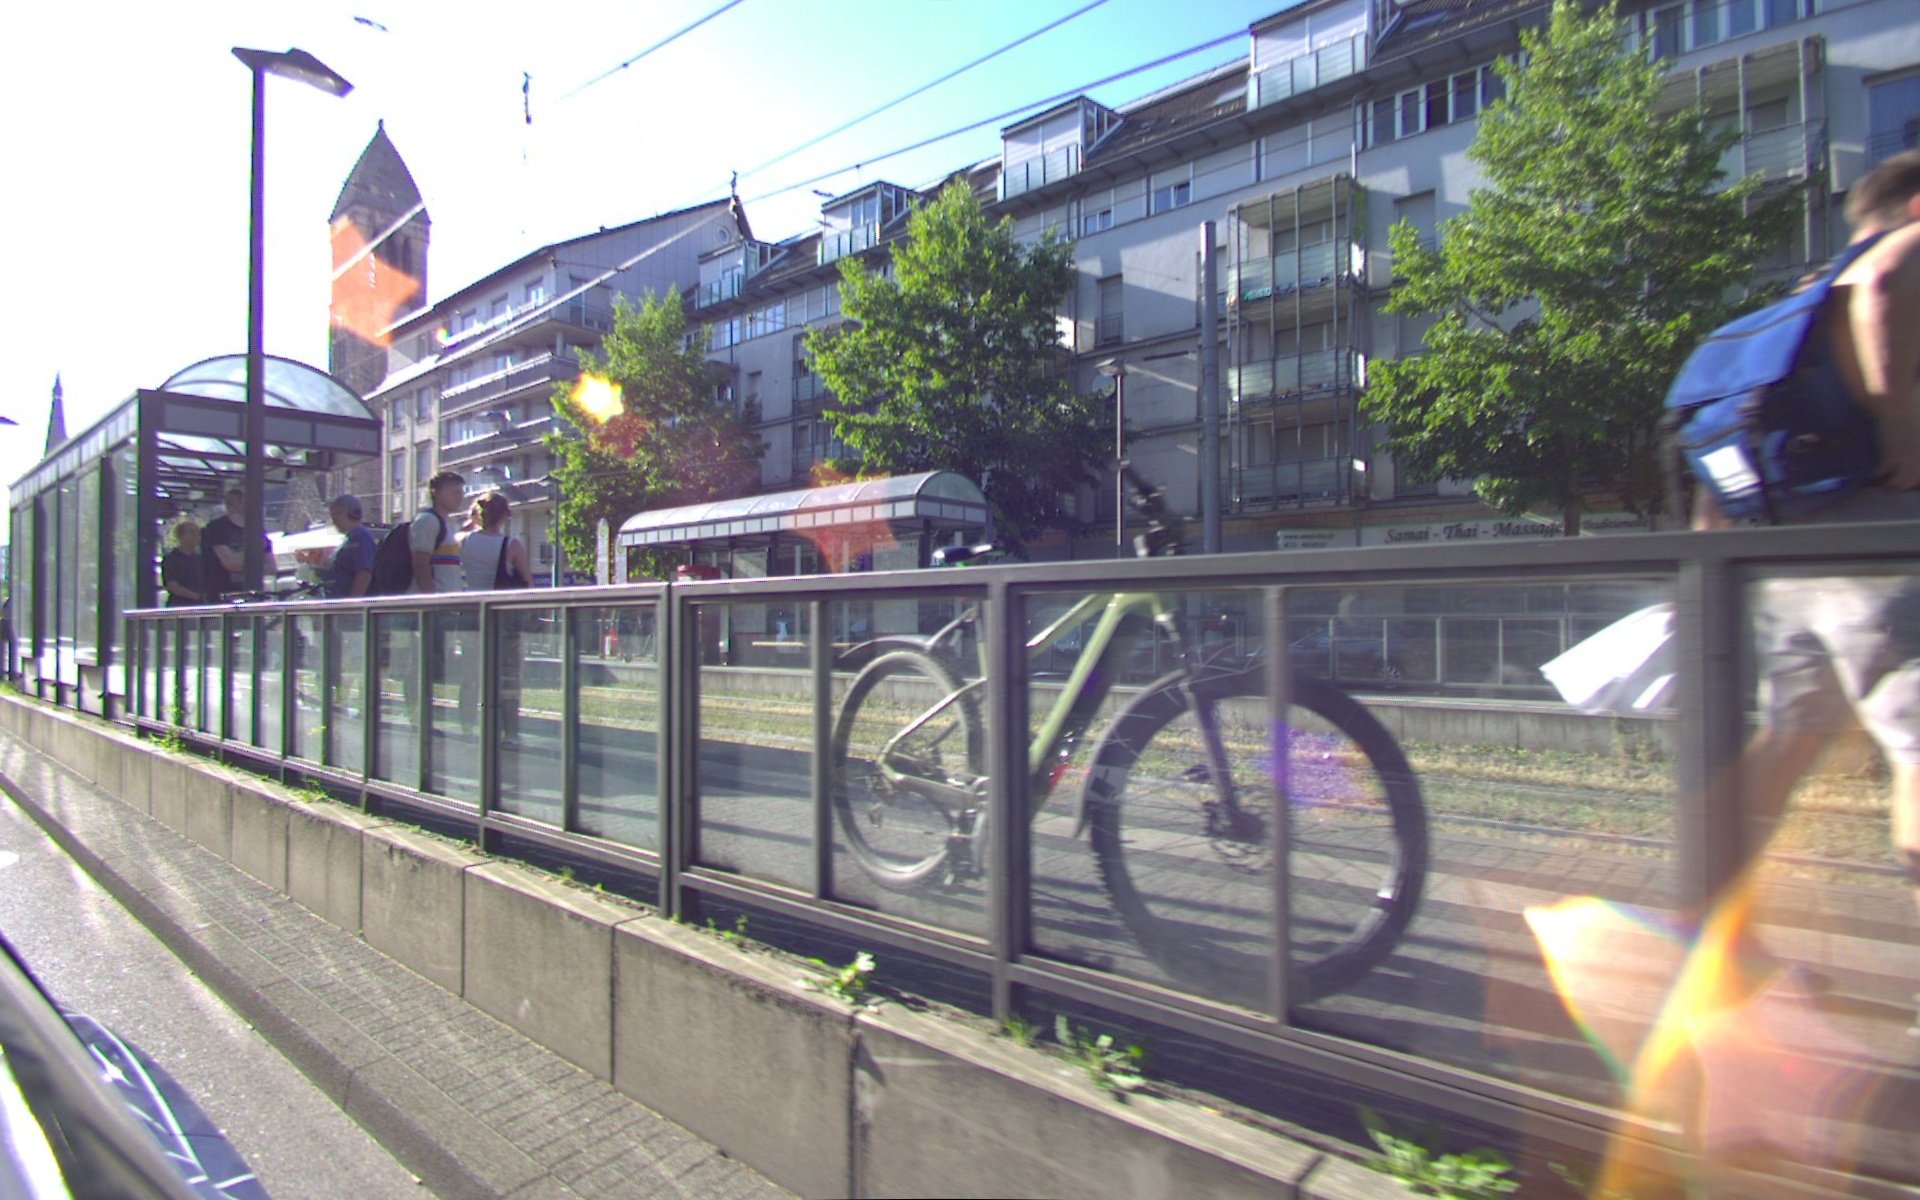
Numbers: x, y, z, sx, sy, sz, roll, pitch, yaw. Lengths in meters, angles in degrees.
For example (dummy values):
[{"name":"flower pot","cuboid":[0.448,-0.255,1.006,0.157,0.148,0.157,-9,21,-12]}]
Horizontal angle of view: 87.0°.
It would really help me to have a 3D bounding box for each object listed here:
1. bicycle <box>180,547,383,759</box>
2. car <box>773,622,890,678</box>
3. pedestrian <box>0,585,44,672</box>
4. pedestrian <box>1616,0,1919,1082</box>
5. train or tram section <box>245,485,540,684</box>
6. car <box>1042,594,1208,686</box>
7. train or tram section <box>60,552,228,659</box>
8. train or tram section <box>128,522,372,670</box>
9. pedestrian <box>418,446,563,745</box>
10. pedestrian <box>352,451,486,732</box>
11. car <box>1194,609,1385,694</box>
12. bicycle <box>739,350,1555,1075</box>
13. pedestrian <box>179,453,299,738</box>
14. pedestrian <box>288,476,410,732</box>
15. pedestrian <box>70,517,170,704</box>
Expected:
[{"name":"bicycle","cuboid":[-4.300,0.301,6.339,2.102,1.142,0.508,-1,0,41]},{"name":"car","cuboid":[-4.320,1.618,33.839,3.783,1.690,1.788,-1,0,41]},{"name":"pedestrian","cuboid":[-17.975,0.535,19.283,0.981,1.622,0.623,-2,0,39]},{"name":"pedestrian","cuboid":[1.791,-0.119,1.930,0.773,1.784,0.777,-2,0,41]},{"name":"train or tram section","cuboid":[-13.291,-0.172,23.167,9.680,3.714,2.839,-1,-2,41]},{"name":"car","cuboid":[4.252,0.997,26.324,3.783,2.183,1.920,-1,0,41]},{"name":"train or tram section","cuboid":[-33.250,0.341,40.850,14.554,3.703,2.839,-1,-2,42]},{"name":"train or tram section","cuboid":[-22.347,0.055,31.207,14.554,3.714,2.839,-1,-2,42]},{"name":"pedestrian","cuboid":[-2.902,-0.025,6.249,0.729,1.721,0.501,-2,0,38]},{"name":"pedestrian","cuboid":[-3.515,-0.051,6.580,0.599,1.721,0.543,-2,0,38]},{"name":"car","cuboid":[7.554,1.136,23.381,3.783,1.742,1.788,-1,0,41]},{"name":"bicycle","cuboid":[0.268,0.185,2.604,0.728,1.142,2.033,-2,0,-41]},{"name":"pedestrian","cuboid":[-5.450,-0.033,7.641,0.592,2.011,0.825,-1,0,-44]},{"name":"pedestrian","cuboid":[-4.637,0.030,7.673,0.592,1.813,0.825,-1,0,-44]},{"name":"pedestrian","cuboid":[-9.039,0.104,10.884,0.824,1.916,0.662,-2,0,40]}]
